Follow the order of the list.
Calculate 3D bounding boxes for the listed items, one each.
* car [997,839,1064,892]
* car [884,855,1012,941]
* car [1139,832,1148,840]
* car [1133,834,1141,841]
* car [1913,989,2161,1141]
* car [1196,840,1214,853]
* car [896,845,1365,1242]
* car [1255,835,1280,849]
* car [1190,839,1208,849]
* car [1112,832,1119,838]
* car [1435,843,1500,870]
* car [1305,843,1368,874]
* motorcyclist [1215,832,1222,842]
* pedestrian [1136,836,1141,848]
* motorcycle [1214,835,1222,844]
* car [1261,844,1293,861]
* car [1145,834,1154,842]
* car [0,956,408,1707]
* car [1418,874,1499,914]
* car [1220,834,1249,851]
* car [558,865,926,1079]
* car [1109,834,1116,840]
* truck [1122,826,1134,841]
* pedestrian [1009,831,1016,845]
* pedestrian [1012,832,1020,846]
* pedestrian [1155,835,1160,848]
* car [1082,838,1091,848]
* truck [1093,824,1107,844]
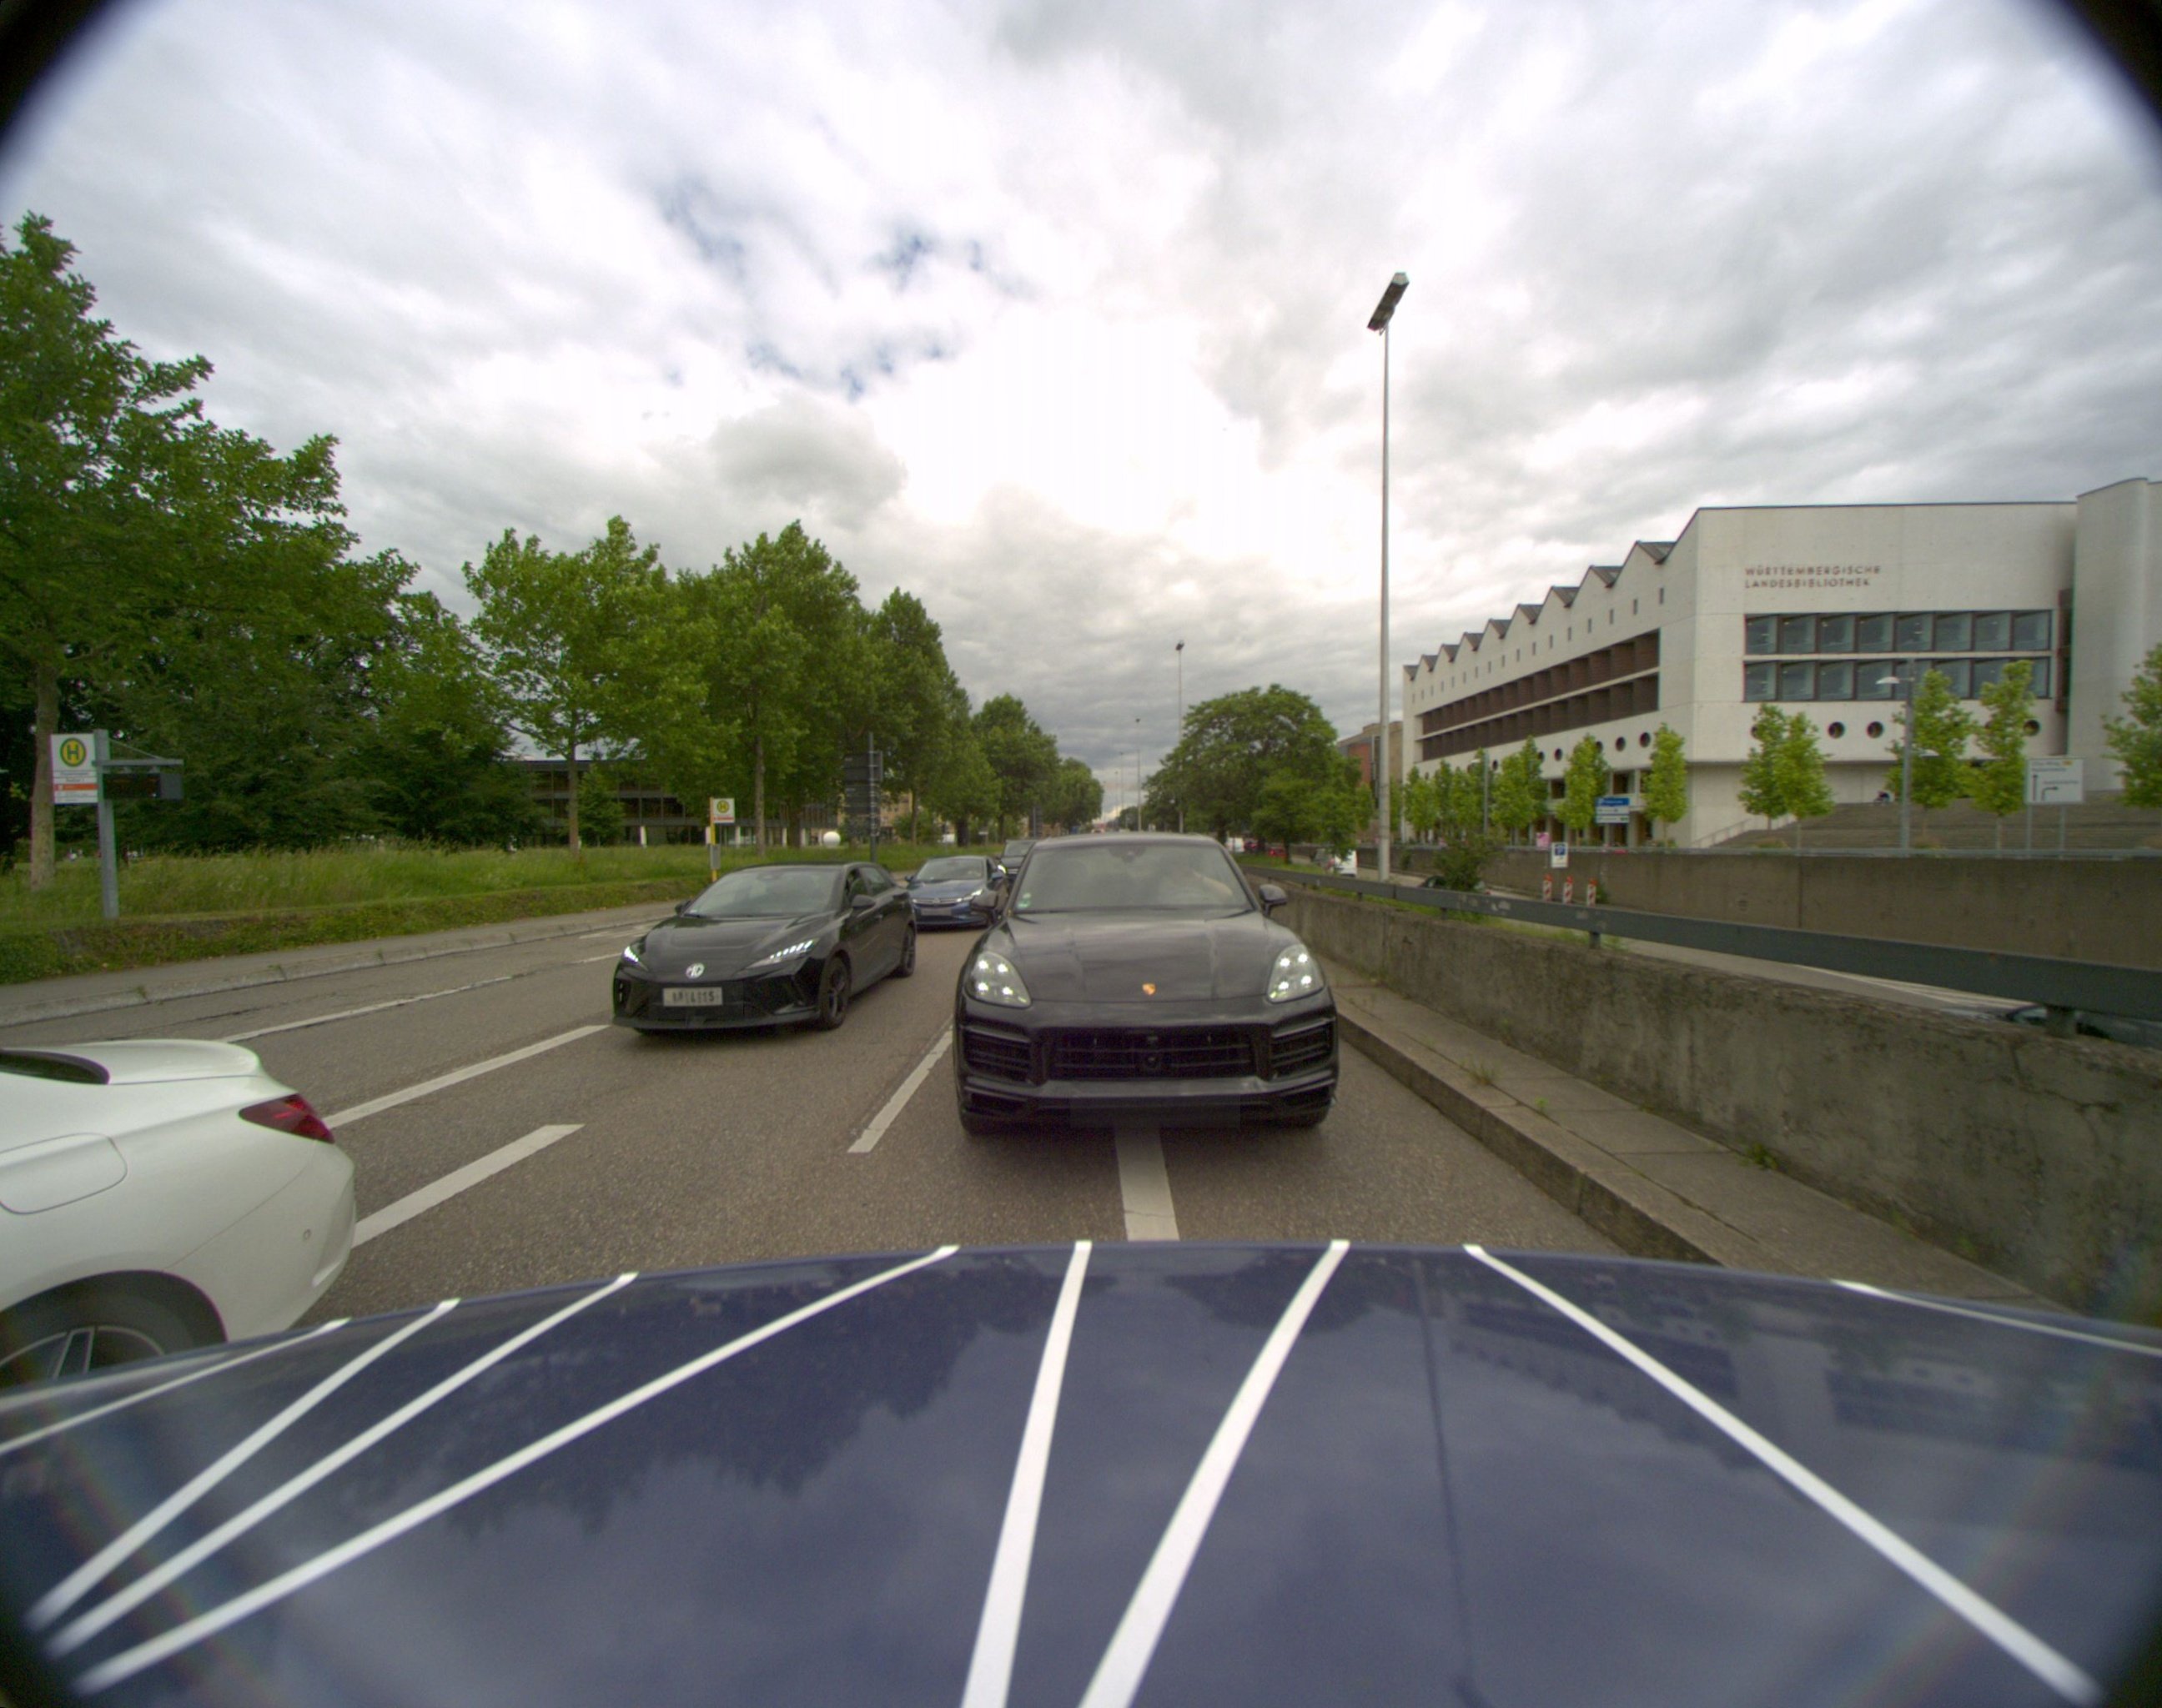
[{"bbox_3d":[-1.817,0.354,28.829,2.021,1.823,4.804,-1,1,2],"label":"car"},{"bbox_3d":[-2.604,0.810,15.874,1.805,1.426,4.015,-1,1,2],"label":"car"},{"bbox_3d":[11.670,-3.316,141.958,1.372,1.390,3.721,2,1,0],"label":"car"},{"bbox_3d":[11.431,-3.392,155.315,1.442,1.390,3.721,2,1,0],"label":"car"},{"bbox_3d":[17.244,3.525,12.979,1.717,1.533,3.906,-3,2,-2],"label":"car"},{"bbox_3d":[16.884,-1.003,103.532,1.779,1.481,4.143,0,4,0],"label":"car"},{"bbox_3d":[0.330,0.773,5.505,1.904,1.581,4.732,-1,1,3],"label":"car"},{"bbox_3d":[21.785,-1.448,88.809,1.780,1.481,4.142,0,4,-2],"label":"car"},{"bbox_3d":[16.982,-1.496,109.821,1.998,1.390,3.999,2,1,0],"label":"car"},{"bbox_3d":[10.496,-5.620,229.922,1.998,1.753,3.999,2,2,0],"label":"car"},{"bbox_3d":[27.602,0.169,54.417,2.180,1.844,4.735,-1,1,-1],"label":"car"},{"bbox_3d":[17.594,0.302,52.681,2.225,2.002,5.113,-1,1,-6],"label":"car"},{"bbox_3d":[18.466,-2.269,102.193,0.671,1.345,0.717,3,4,0],"label":"motorcyclist"},{"bbox_3d":[9.654,-1.974,127.163,0.792,2.002,0.741,-1,0,2],"label":"pedestrian"},{"bbox_3d":[18.457,-1.926,102.263,0.687,1.092,2.049,3,4,1],"label":"motorcycle"},{"bbox_3d":[17.616,-0.123,68.473,1.998,1.477,4.000,-1,1,2],"label":"car"},{"bbox_3d":[12.116,-2.828,134.362,1.372,1.390,3.721,2,1,0],"label":"car"},{"bbox_3d":[-3.191,1.102,0.216,1.799,1.412,4.526,-1,1,2],"label":"car"},{"bbox_3d":[17.713,1.838,35.859,1.880,1.539,3.999,-1,1,1],"label":"car"},{"bbox_3d":[17.223,-1.324,85.666,1.999,1.630,5.246,5,3,-1],"label":"car"},{"bbox_3d":[-3.035,0.944,7.911,1.852,1.481,4.092,-1,1,2],"label":"car"},{"bbox_3d":[10.530,-5.732,255.377,1.998,1.753,3.999,2,2,0],"label":"car"},{"bbox_3d":[11.130,-4.842,180.735,2.576,3.289,8.078,-3,2,2],"label":"truck"},{"bbox_3d":[-9.894,-2.266,109.856,0.892,2.002,1.181,-3,2,2],"label":"pedestrian"},{"bbox_3d":[-10.055,-2.323,117.807,0.892,2.002,1.181,-3,2,2],"label":"pedestrian"},{"bbox_3d":[12.630,-2.053,124.979,0.792,2.002,0.741,-1,0,2],"label":"pedestrian"},{"bbox_3d":[1.090,-2.240,153.368,1.693,2.002,3.999,-3,2,2],"label":"car"},{"bbox_3d":[3.628,-3.872,143.368,2.357,3.518,9.423,-3,2,2],"label":"truck"}]
